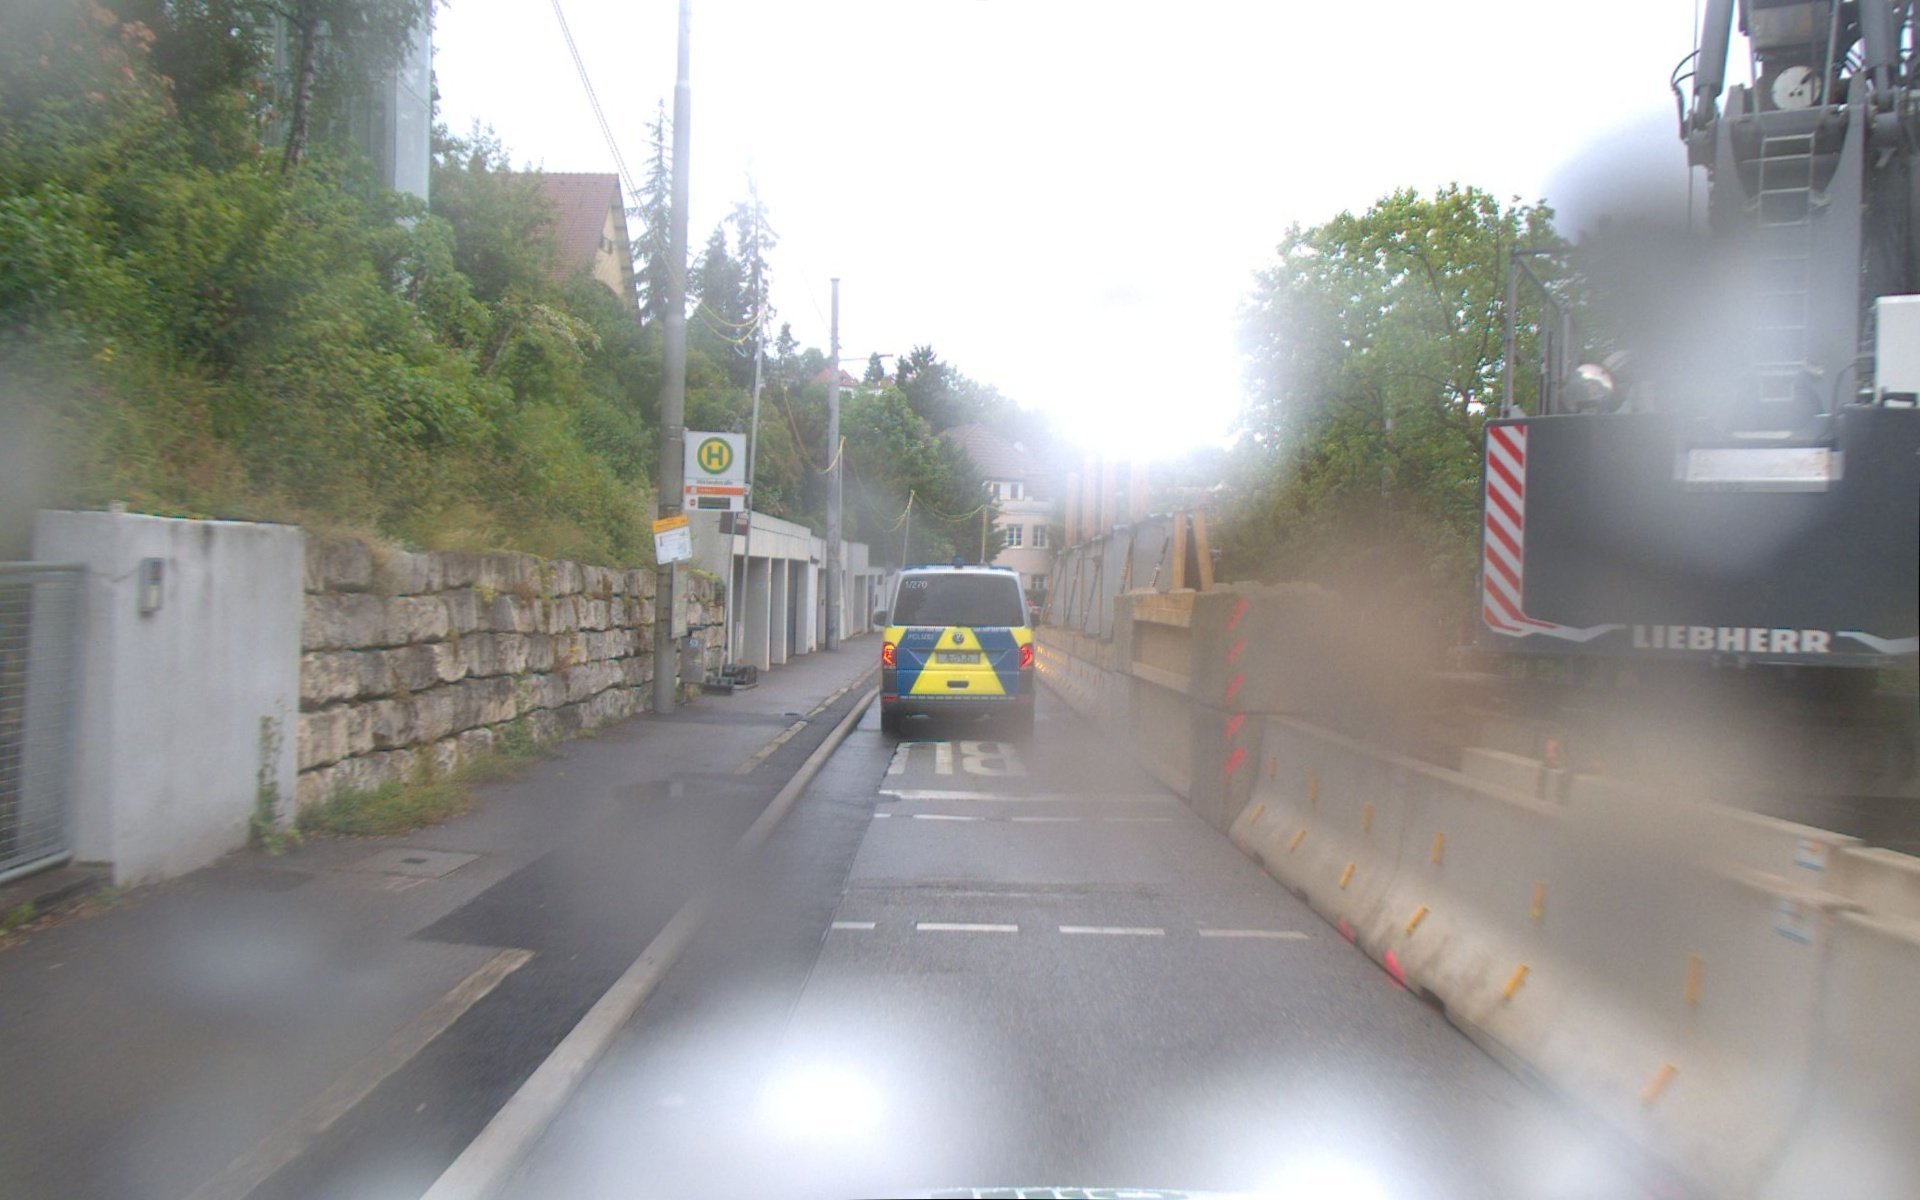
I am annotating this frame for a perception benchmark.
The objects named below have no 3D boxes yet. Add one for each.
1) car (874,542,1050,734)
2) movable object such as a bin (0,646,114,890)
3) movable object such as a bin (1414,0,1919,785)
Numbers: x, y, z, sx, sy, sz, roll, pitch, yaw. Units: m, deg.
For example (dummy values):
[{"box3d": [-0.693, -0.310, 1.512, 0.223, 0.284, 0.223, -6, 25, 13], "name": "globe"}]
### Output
[{"box3d": [-0.010, 0.465, 20.768, 1.869, 2.045, 4.438, 3, -1, -1], "name": "car"}, {"box3d": [-4.049, 0.704, 7.117, 0.496, 0.982, 0.498, 3, -1, -1], "name": "movable object such as a bin"}, {"box3d": [6.098, -1.490, 12.712, 3.611, 5.155, 7.153, 1, -1, 27], "name": "movable object such as a bin"}]
